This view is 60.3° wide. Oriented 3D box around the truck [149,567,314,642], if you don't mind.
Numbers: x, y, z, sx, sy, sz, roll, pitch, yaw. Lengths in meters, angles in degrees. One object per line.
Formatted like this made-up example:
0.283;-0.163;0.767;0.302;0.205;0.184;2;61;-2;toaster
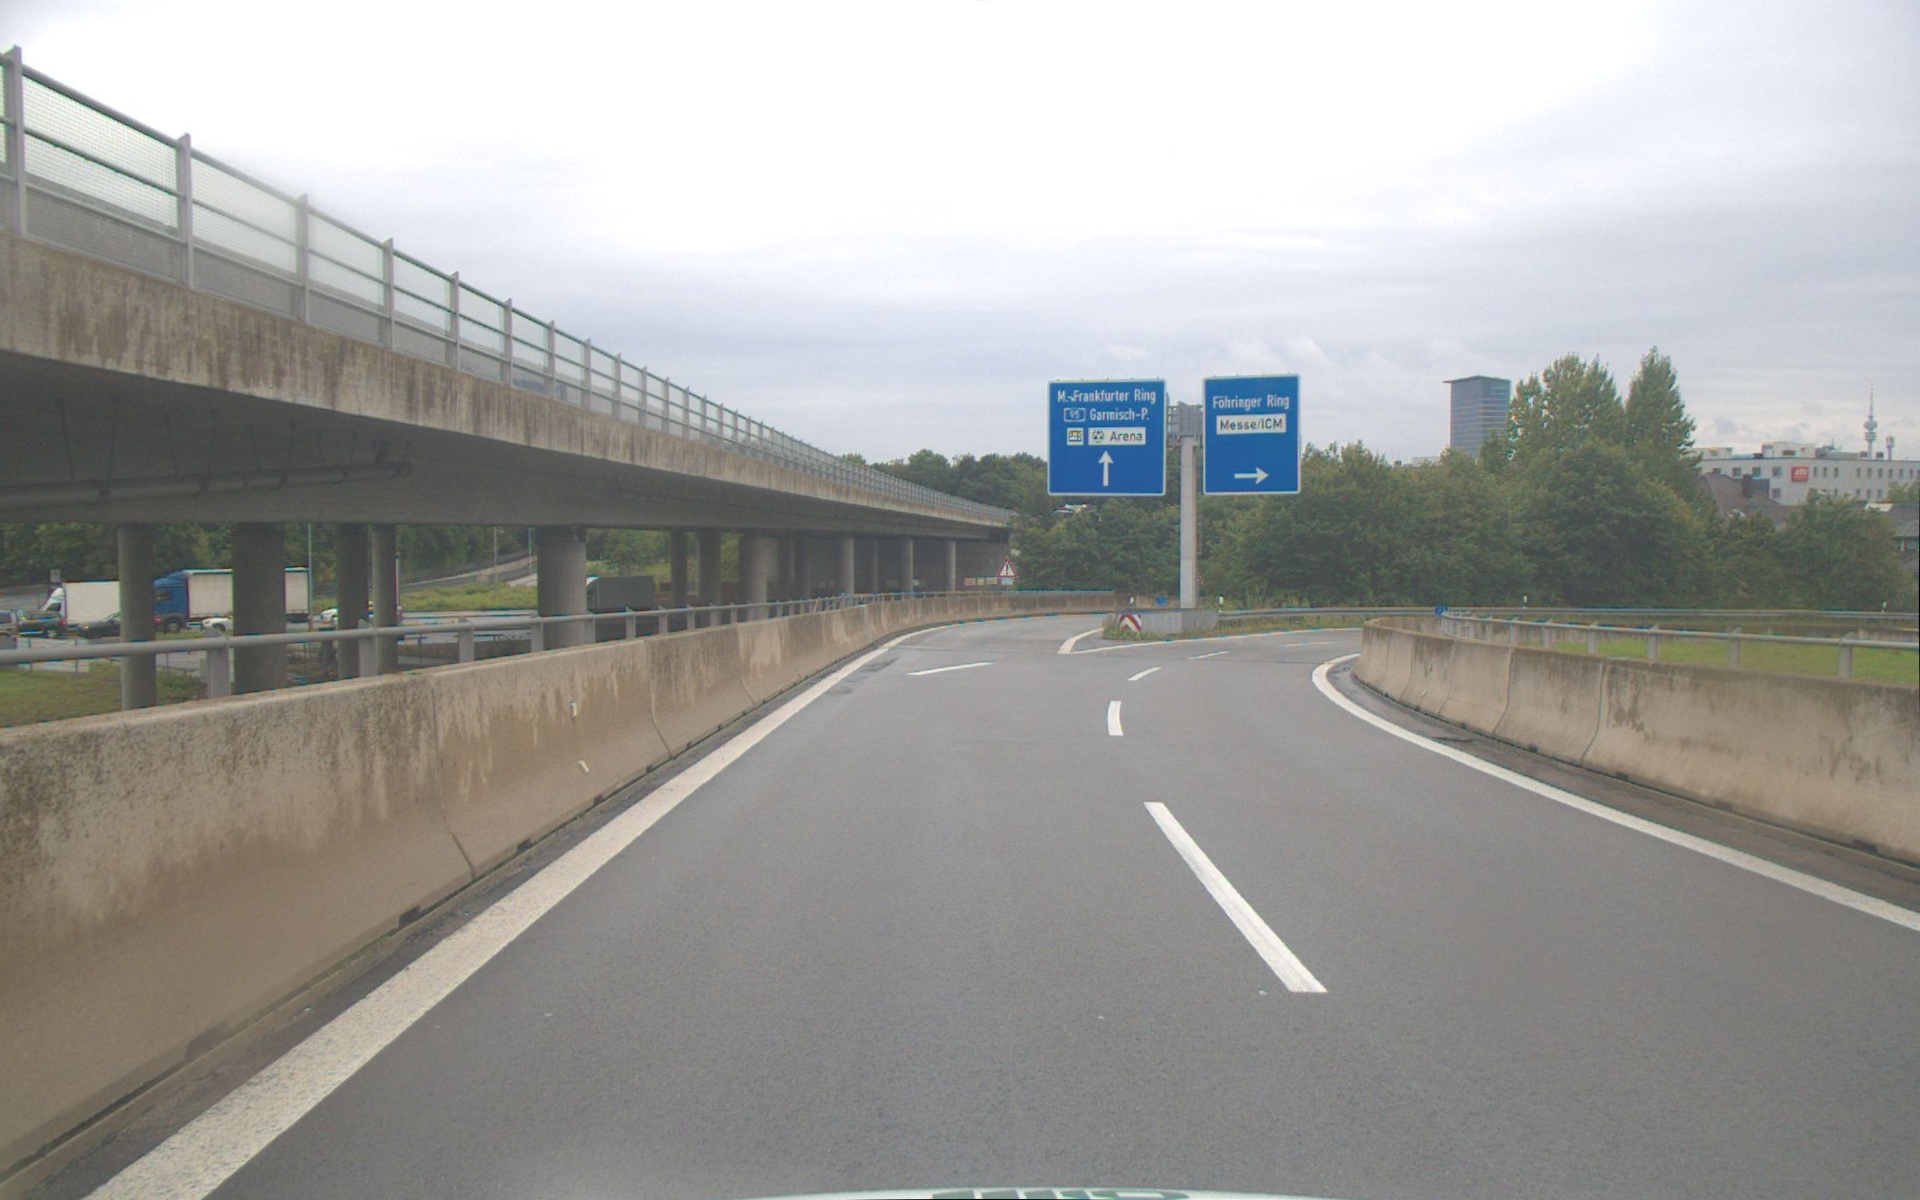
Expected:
-47.427;0.205;107.848;9.487;4.672;2.766;-1;1;-34;truck

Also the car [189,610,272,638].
-46.331;1.506;105.093;4.541;1.611;1.950;-1;1;-37;car

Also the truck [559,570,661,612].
-25.873;-0.644;122.495;7.146;3.029;2.233;0;0;-34;truck

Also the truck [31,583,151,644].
-55.832;0.821;106.304;6.564;3.744;2.766;-1;1;-34;truck

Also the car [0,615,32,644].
-57.326;1.761;97.330;4.541;1.634;1.950;-1;1;-37;car

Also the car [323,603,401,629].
-39.653;1.045;109.724;4.539;1.611;1.951;-1;1;-36;car

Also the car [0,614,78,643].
-56.792;1.739;101.393;4.541;1.634;1.950;-1;1;-37;car
